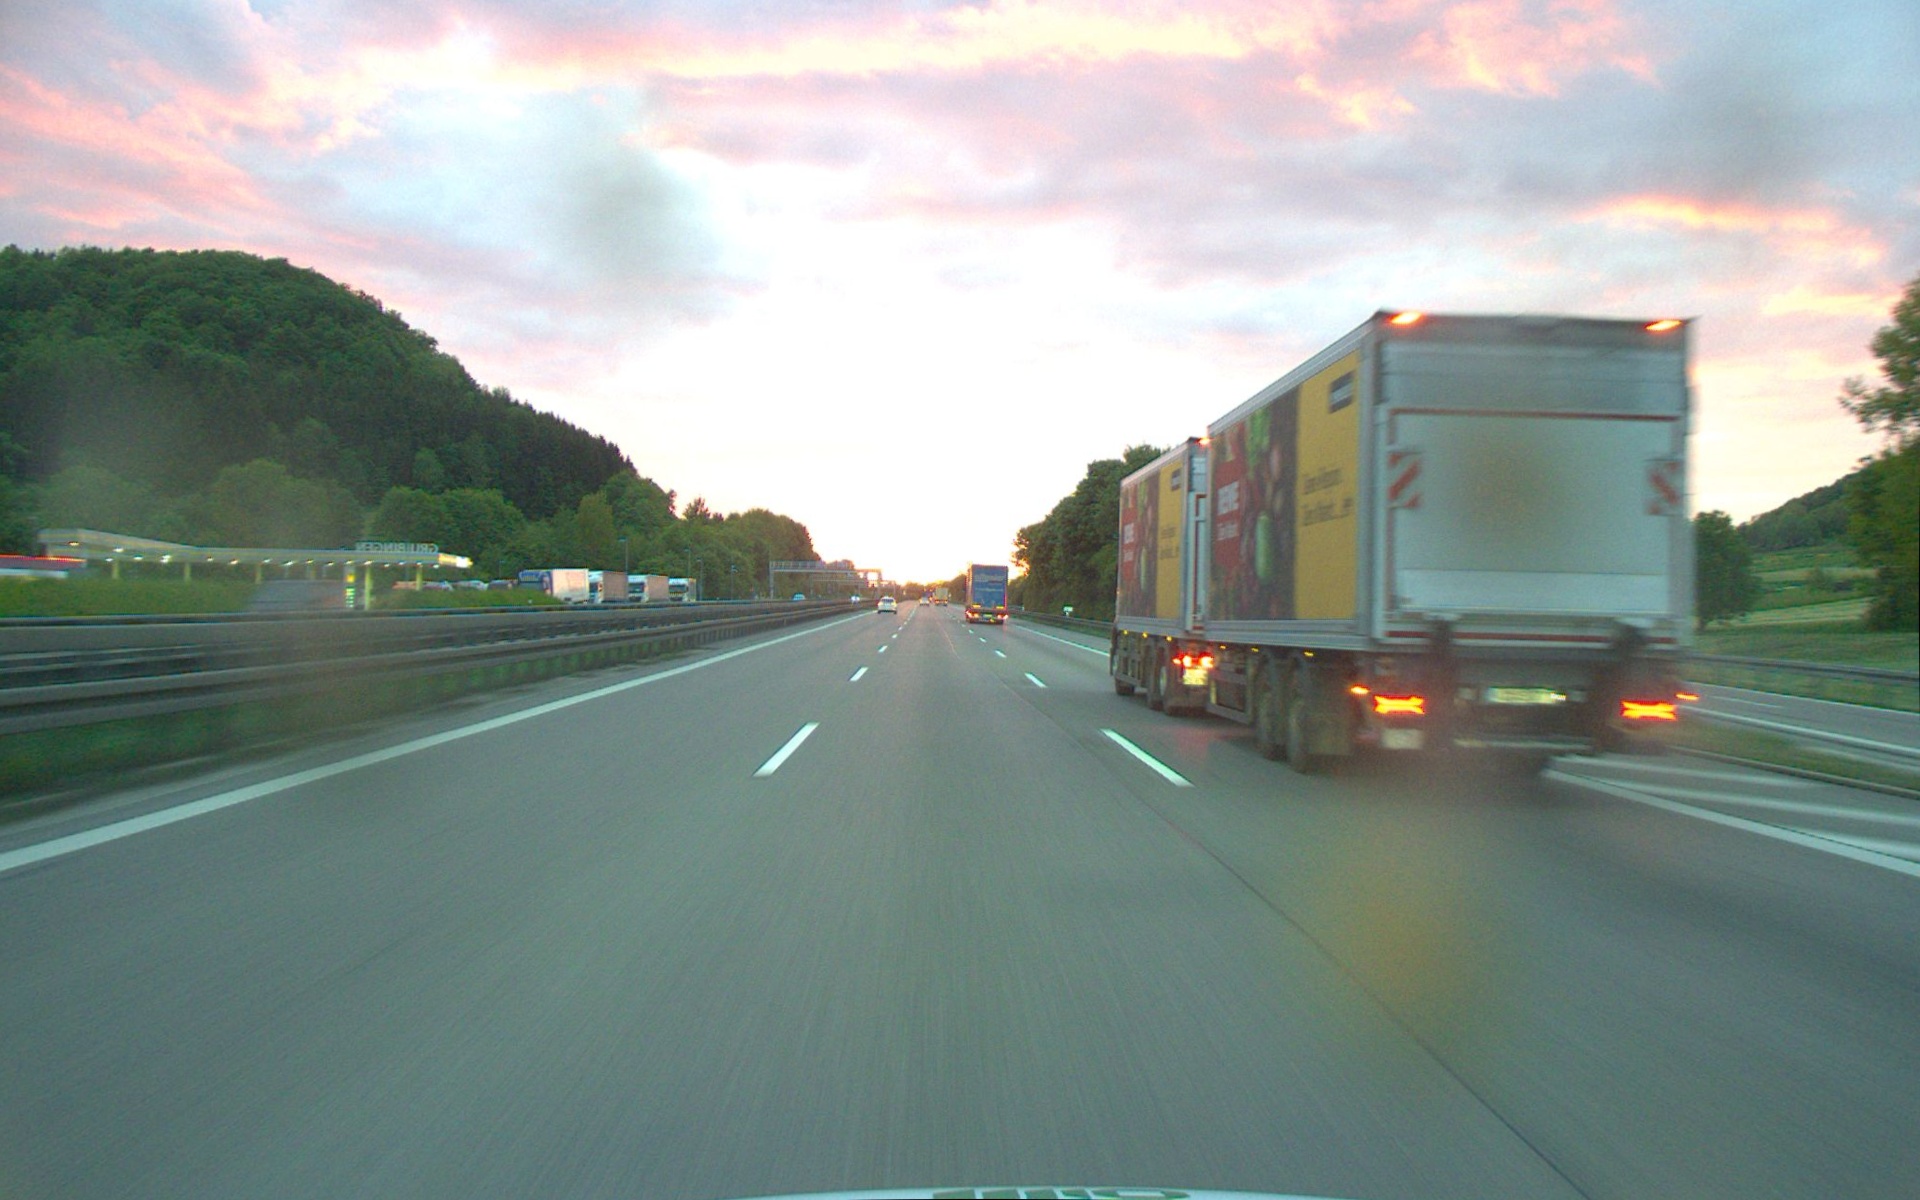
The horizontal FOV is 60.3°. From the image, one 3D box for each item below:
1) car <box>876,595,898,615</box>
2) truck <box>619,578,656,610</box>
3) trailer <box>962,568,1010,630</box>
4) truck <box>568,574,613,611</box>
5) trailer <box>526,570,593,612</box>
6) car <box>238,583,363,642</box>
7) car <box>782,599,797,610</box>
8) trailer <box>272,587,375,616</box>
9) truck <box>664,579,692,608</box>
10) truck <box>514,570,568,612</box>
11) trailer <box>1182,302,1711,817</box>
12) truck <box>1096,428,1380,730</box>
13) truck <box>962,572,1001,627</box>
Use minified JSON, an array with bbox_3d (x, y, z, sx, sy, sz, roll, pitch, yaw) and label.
[{"bbox_3d":[-6.703,0.469,151.647,1.972,1.780,3.901,-2,0,-2],"label":"car"},{"bbox_3d":[-36.577,-0.650,187.831,2.815,3.484,6.725,2,0,0],"label":"truck"},{"bbox_3d":[1.815,-0.034,121.740,2.716,4.158,13.734,2,0,-2],"label":"trailer"},{"bbox_3d":[-36.355,-0.751,162.873,2.815,3.484,6.725,2,0,-1],"label":"truck"},{"bbox_3d":[-36.269,-0.790,150.270,2.815,3.484,13.223,2,0,0],"label":"trailer"},{"bbox_3d":[-20.681,0.374,52.104,1.953,1.731,5.114,-2,0,-2],"label":"car"},{"bbox_3d":[-26.530,0.745,257.665,1.953,1.621,4.739,2,0,-1],"label":"car"},{"bbox_3d":[-81.916,0.244,213.185,2.878,3.581,13.384,1,0,32],"label":"trailer"},{"bbox_3d":[-36.114,-0.837,212.106,2.817,3.484,6.719,2,0,-5],"label":"truck"},{"bbox_3d":[-36.269,-0.752,143.428,2.815,3.434,7.174,2,0,0],"label":"truck"},{"bbox_3d":[4.348,-0.273,17.134,2.563,3.894,8.874,1,0,-2],"label":"trailer"},{"bbox_3d":[4.066,-0.237,26.791,2.563,3.894,10.383,1,0,-1],"label":"truck"},{"bbox_3d":[1.643,-0.025,128.201,2.681,4.066,5.847,2,-1,-2],"label":"truck"}]
